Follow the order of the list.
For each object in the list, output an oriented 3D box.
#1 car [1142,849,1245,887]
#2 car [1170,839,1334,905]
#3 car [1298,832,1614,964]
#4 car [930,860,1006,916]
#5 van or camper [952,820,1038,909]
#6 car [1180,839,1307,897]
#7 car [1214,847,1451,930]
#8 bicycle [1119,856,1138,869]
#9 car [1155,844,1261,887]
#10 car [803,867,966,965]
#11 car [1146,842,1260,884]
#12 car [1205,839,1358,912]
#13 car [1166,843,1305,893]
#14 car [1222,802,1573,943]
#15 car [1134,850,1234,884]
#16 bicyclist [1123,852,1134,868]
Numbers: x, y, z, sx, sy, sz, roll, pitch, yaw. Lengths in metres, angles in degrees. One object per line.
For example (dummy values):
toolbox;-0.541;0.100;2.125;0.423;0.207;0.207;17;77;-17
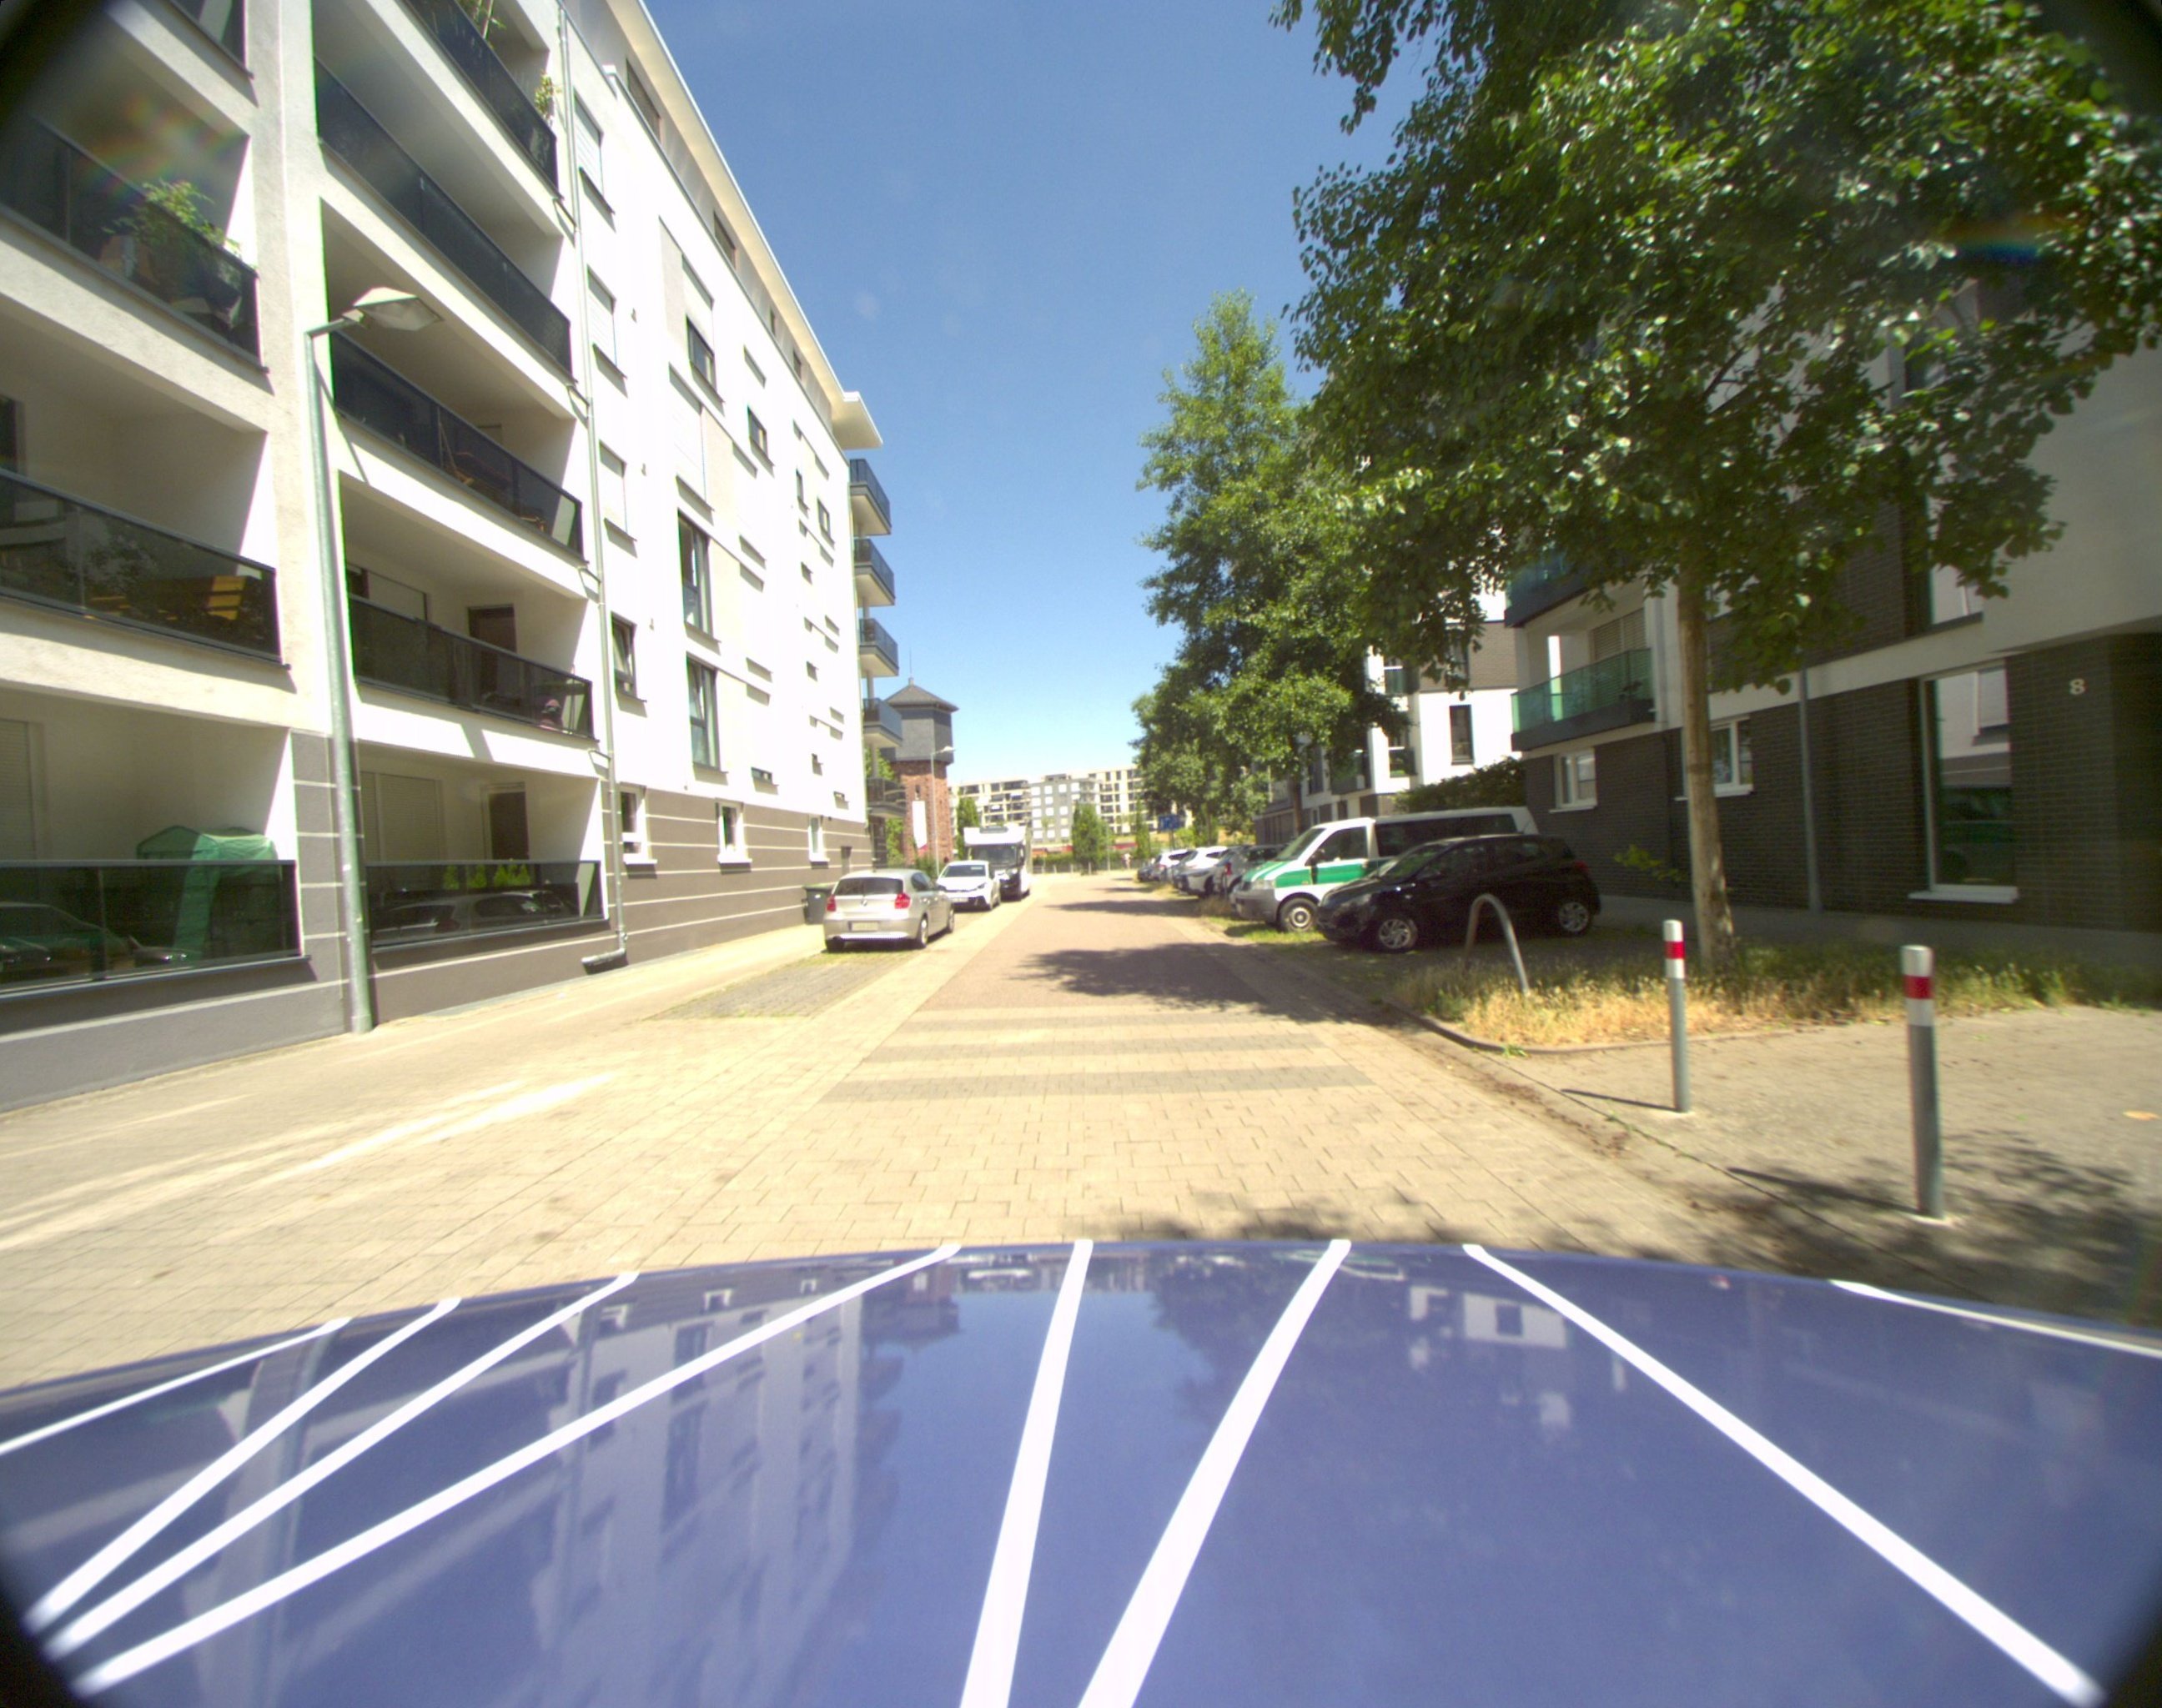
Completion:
car;5.714;0.684;38.913;4.831;1.441;1.827;-6;1;-2
car;5.297;0.530;23.918;4.571;1.585;1.966;-5;0;-5
car;5.235;0.585;10.950;3.632;1.473;1.678;-5;0;0
car;-3.419;0.993;23.745;1.812;1.496;4.260;-2;0;-2
van or camper;-3.172;0.320;30.025;2.445;2.889;7.825;-4;1;-1
car;5.590;0.471;26.547;3.990;1.619;1.950;-5;0;2
car;5.349;0.703;16.584;4.432;1.481;2.000;-3;0;-2
bicycle;4.568;0.836;73.224;0.592;1.192;1.937;-4;0;-42
car;5.595;0.508;33.774;4.263;1.521;1.822;-5;0;-3
car;-3.578;1.065;14.733;1.850;1.408;4.426;-3;0;1
car;5.788;0.423;36.492;5.042;1.622;2.042;-4;0;-2
car;5.533;0.569;21.278;3.689;1.666;1.852;-5;0;0
car;5.807;0.528;28.992;4.862;1.448;1.829;-5;0;1
car;5.452;0.313;13.737;5.355;2.098;2.187;-3;0;2
car;5.588;0.712;41.556;5.112;1.476;1.927;-4;1;-2
bicyclist;4.548;0.563;73.210;0.735;1.426;0.659;-4;0;-41
